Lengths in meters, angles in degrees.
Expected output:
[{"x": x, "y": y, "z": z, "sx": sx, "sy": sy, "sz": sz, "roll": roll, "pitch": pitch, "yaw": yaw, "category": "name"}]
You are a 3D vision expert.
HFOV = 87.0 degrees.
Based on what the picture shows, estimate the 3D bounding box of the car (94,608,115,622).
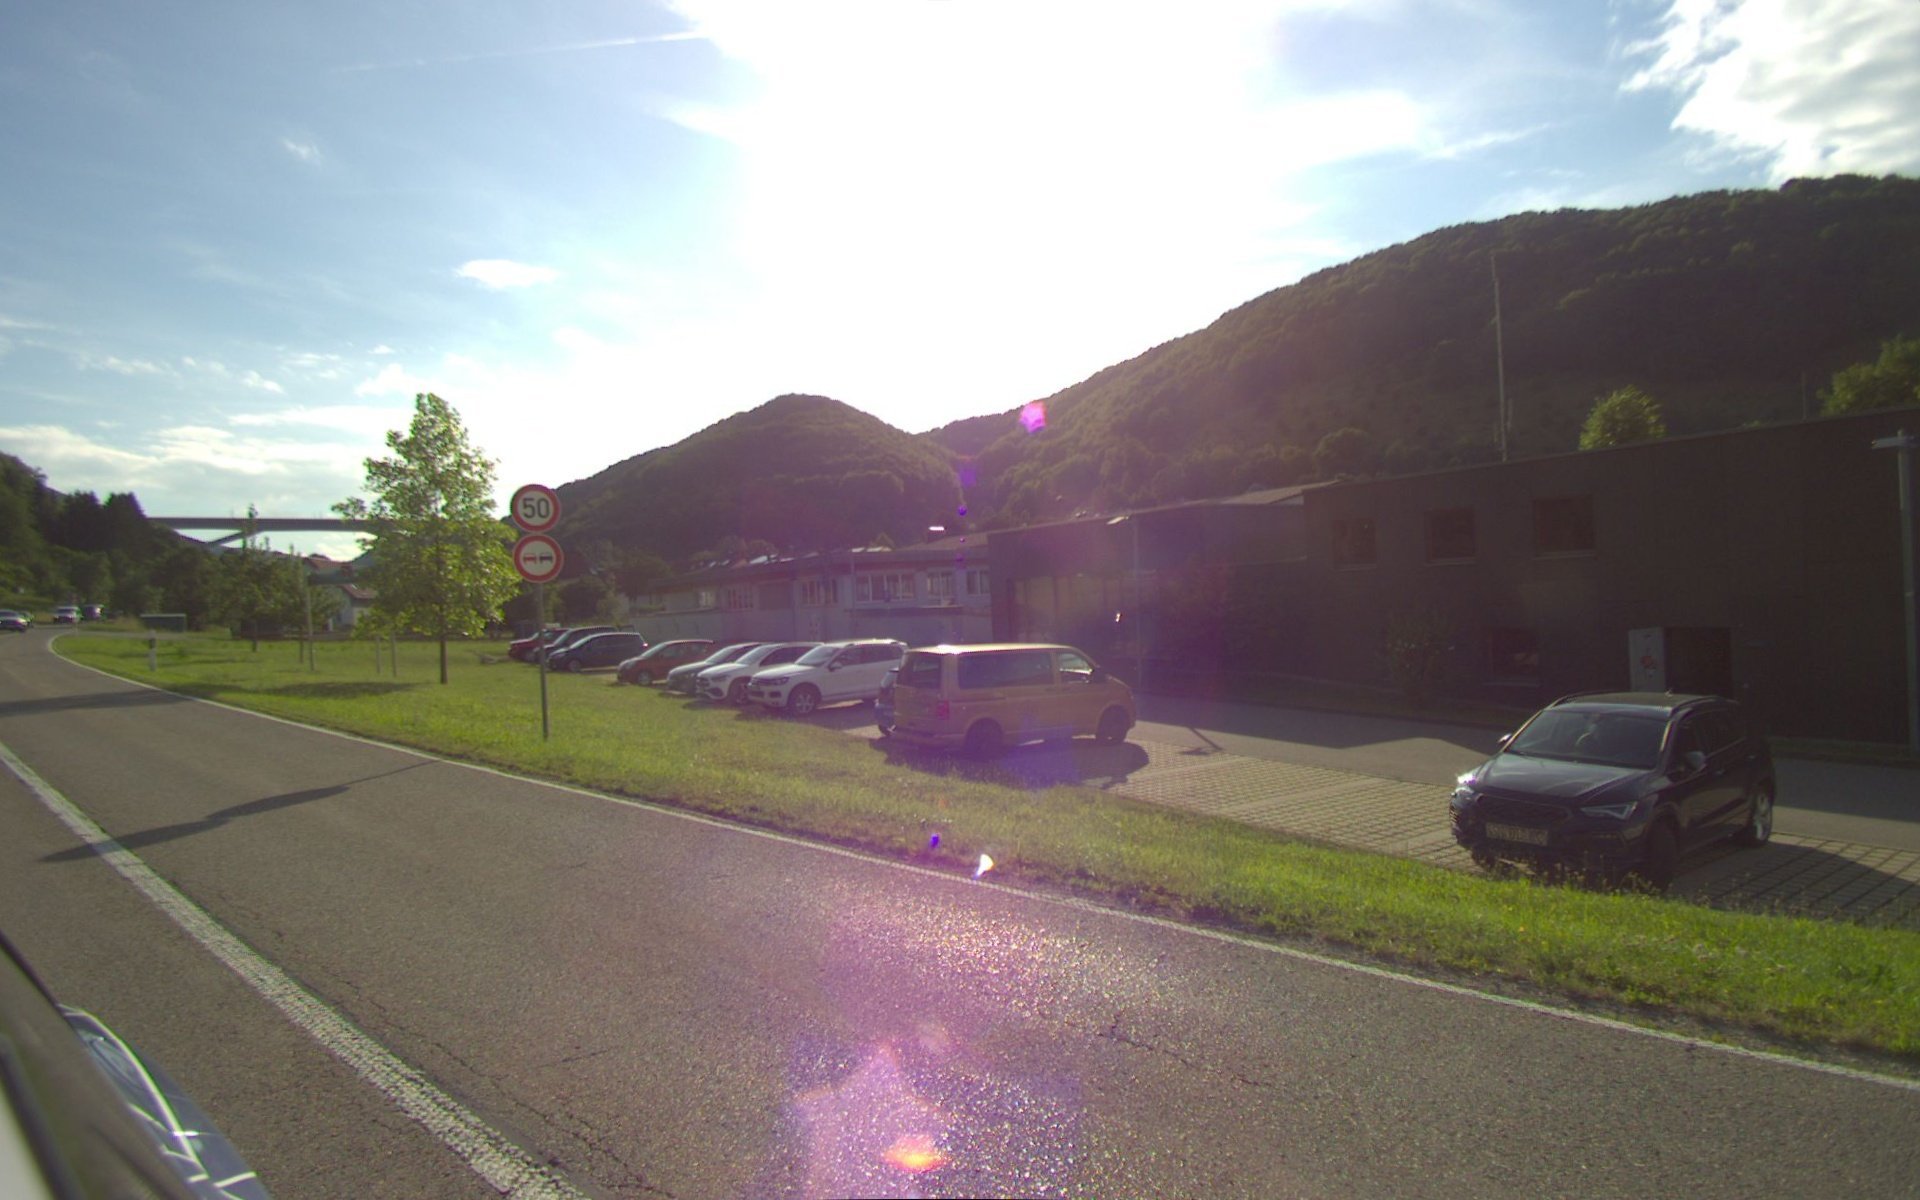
[{"x": -99.786, "y": 1.724, "z": 118.044, "sx": 1.604, "sy": 1.490, "sz": 3.688, "roll": 0, "pitch": 0, "yaw": -36, "category": "car"}]

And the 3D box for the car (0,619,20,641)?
[{"x": -67.830, "y": 2.092, "z": 71.822, "sx": 1.607, "sy": 1.490, "sz": 3.683, "roll": 0, "pitch": 0, "yaw": -43, "category": "car"}]

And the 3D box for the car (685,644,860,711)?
[{"x": -5.281, "y": 2.124, "z": 28.745, "sx": 4.478, "sy": 1.566, "sz": 2.005, "roll": 0, "pitch": 0, "yaw": -35, "category": "car"}]

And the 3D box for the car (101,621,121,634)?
[{"x": -104.179, "y": 3.370, "z": 124.200, "sx": 1.604, "sy": 1.490, "sz": 3.688, "roll": 0, "pitch": 0, "yaw": -36, "category": "car"}]

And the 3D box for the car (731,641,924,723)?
[{"x": -3.337, "y": 2.010, "z": 25.887, "sx": 4.478, "sy": 1.716, "sz": 2.005, "roll": 0, "pitch": 0, "yaw": -35, "category": "car"}]

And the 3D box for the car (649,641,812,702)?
[{"x": -7.048, "y": 2.133, "z": 31.276, "sx": 4.478, "sy": 1.566, "sz": 2.005, "roll": 0, "pitch": 0, "yaw": -35, "category": "car"}]

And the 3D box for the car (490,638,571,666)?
[{"x": -23.520, "y": 2.824, "z": 55.464, "sx": 3.834, "sy": 1.379, "sz": 1.858, "roll": 1, "pitch": 0, "yaw": -34, "category": "car"}]

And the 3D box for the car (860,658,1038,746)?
[{"x": -0.203, "y": 2.067, "z": 21.271, "sx": 3.448, "sy": 1.483, "sz": 1.636, "roll": 0, "pitch": 0, "yaw": -38, "category": "car"}]

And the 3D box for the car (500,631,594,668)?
[{"x": -21.421, "y": 2.537, "z": 52.542, "sx": 4.261, "sy": 1.682, "sz": 1.853, "roll": 0, "pitch": 0, "yaw": -31, "category": "car"}]

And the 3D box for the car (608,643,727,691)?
[{"x": -10.214, "y": 2.308, "z": 35.397, "sx": 3.671, "sy": 1.408, "sz": 1.620, "roll": 0, "pitch": 0, "yaw": -35, "category": "car"}]

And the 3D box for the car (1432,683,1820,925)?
[{"x": 6.870, "y": 1.849, "z": 10.338, "sx": 3.971, "sy": 1.649, "sz": 2.005, "roll": 0, "pitch": 0, "yaw": -35, "category": "car"}]

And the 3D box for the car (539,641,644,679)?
[{"x": -15.880, "y": 2.554, "z": 43.702, "sx": 3.955, "sy": 1.463, "sz": 1.688, "roll": 0, "pitch": -2, "yaw": -37, "category": "car"}]

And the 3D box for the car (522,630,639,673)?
[{"x": -17.996, "y": 2.391, "z": 48.138, "sx": 4.926, "sy": 1.807, "sz": 1.688, "roll": 0, "pitch": 0, "yaw": -37, "category": "car"}]

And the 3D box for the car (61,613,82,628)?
[{"x": -92.789, "y": 2.127, "z": 105.734, "sx": 1.606, "sy": 1.490, "sz": 3.685, "roll": 0, "pitch": 0, "yaw": -40, "category": "car"}]

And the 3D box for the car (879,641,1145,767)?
[{"x": 0.999, "y": 1.784, "z": 18.609, "sx": 4.547, "sy": 1.882, "sz": 2.006, "roll": 0, "pitch": 0, "yaw": -32, "category": "car"}]
